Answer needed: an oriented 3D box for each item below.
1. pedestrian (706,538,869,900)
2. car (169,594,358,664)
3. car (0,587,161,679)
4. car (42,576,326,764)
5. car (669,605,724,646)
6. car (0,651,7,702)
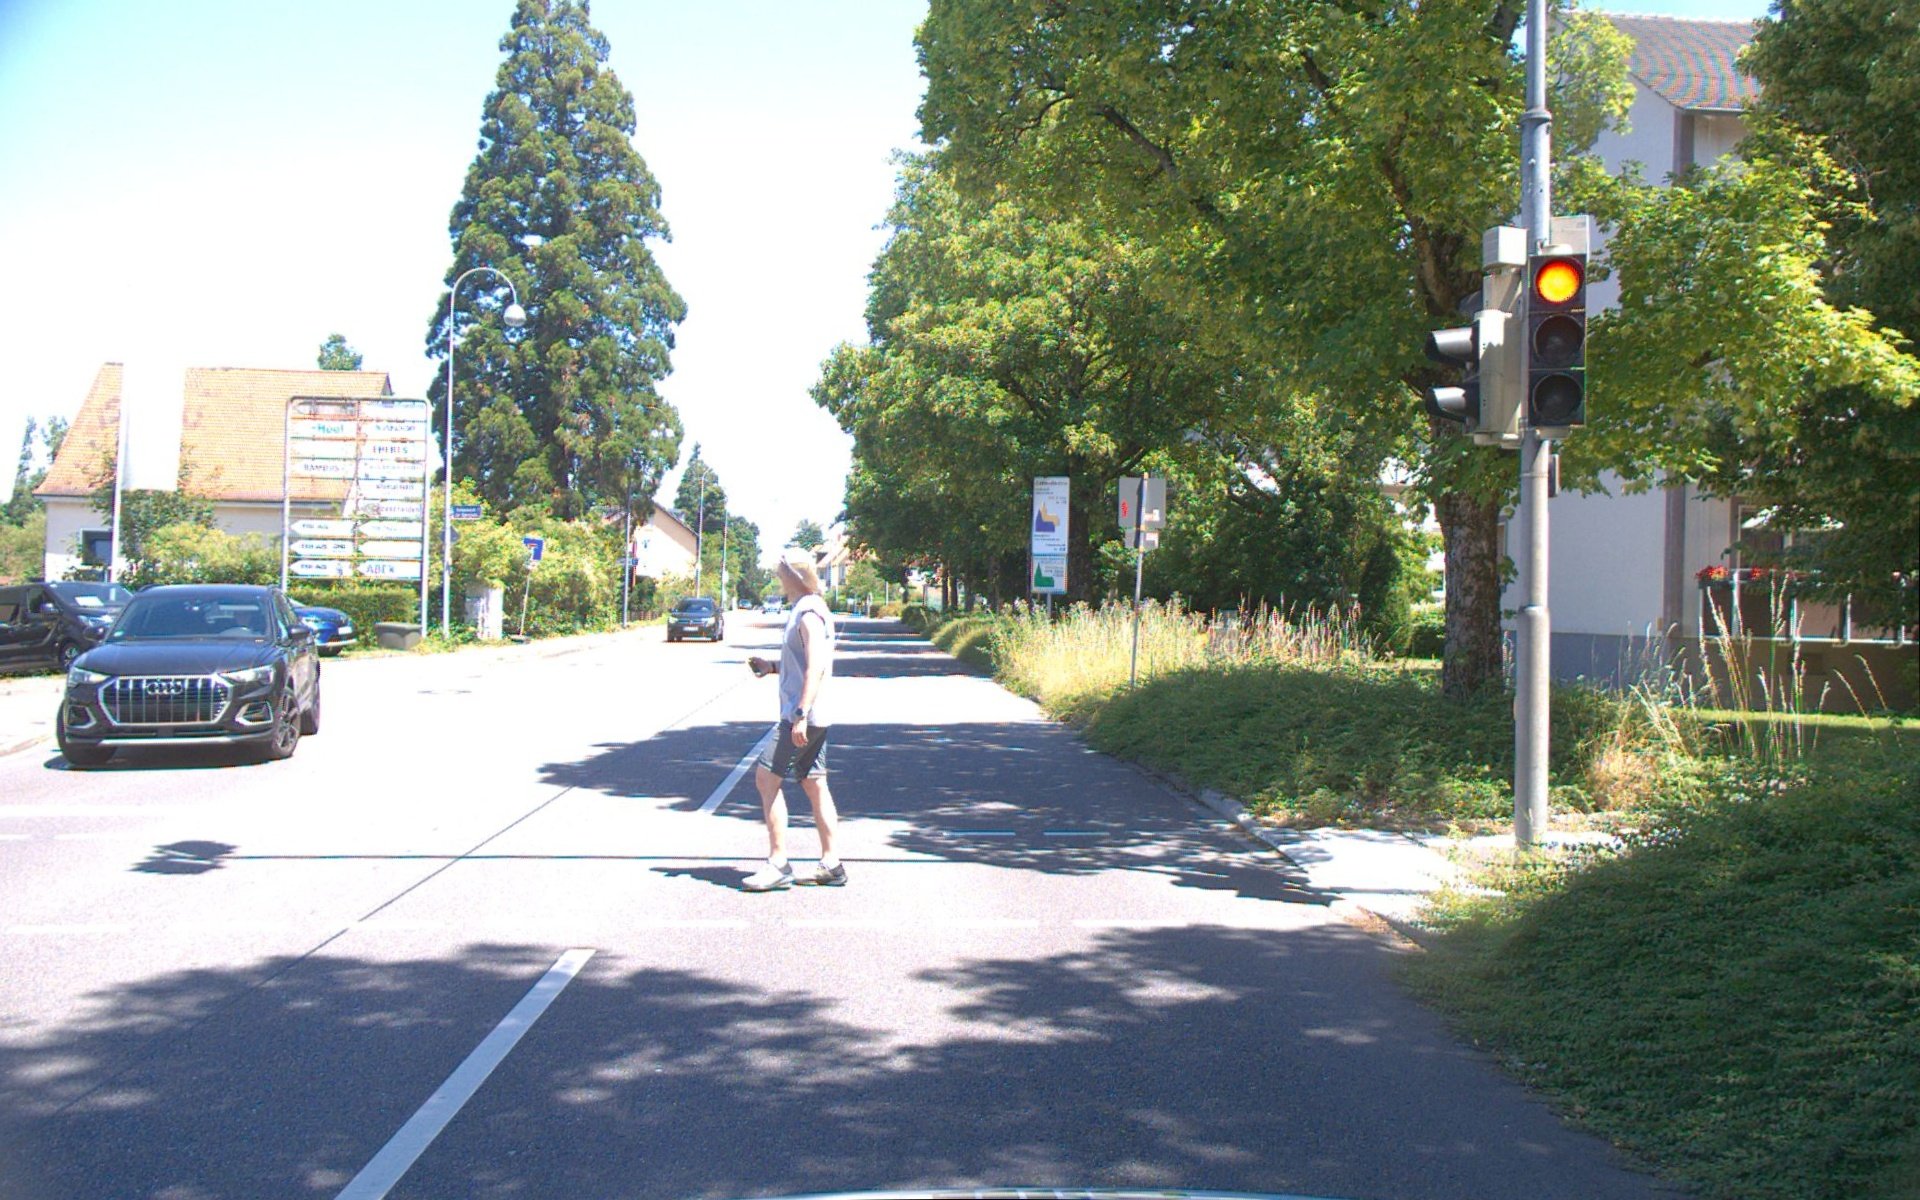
[{"bbox_3d":[-0.884,0.586,8.537,0.601,1.781,0.561,1,-1,29],"label":"pedestrian"},{"bbox_3d":[-14.928,0.605,35.574,3.425,1.452,1.598,0,0,-8],"label":"car"},{"bbox_3d":[-17.620,0.639,32.533,3.089,1.744,1.569,1,-1,-11],"label":"car"},{"bbox_3d":[-7.356,0.614,16.110,1.892,1.553,4.286,-1,-1,-17],"label":"car"},{"bbox_3d":[-9.202,0.880,57.851,1.402,1.345,3.354,1,-1,-1],"label":"car"},{"bbox_3d":[-24.558,1.897,39.700,1.713,1.247,3.240,1,0,-6],"label":"car"}]
